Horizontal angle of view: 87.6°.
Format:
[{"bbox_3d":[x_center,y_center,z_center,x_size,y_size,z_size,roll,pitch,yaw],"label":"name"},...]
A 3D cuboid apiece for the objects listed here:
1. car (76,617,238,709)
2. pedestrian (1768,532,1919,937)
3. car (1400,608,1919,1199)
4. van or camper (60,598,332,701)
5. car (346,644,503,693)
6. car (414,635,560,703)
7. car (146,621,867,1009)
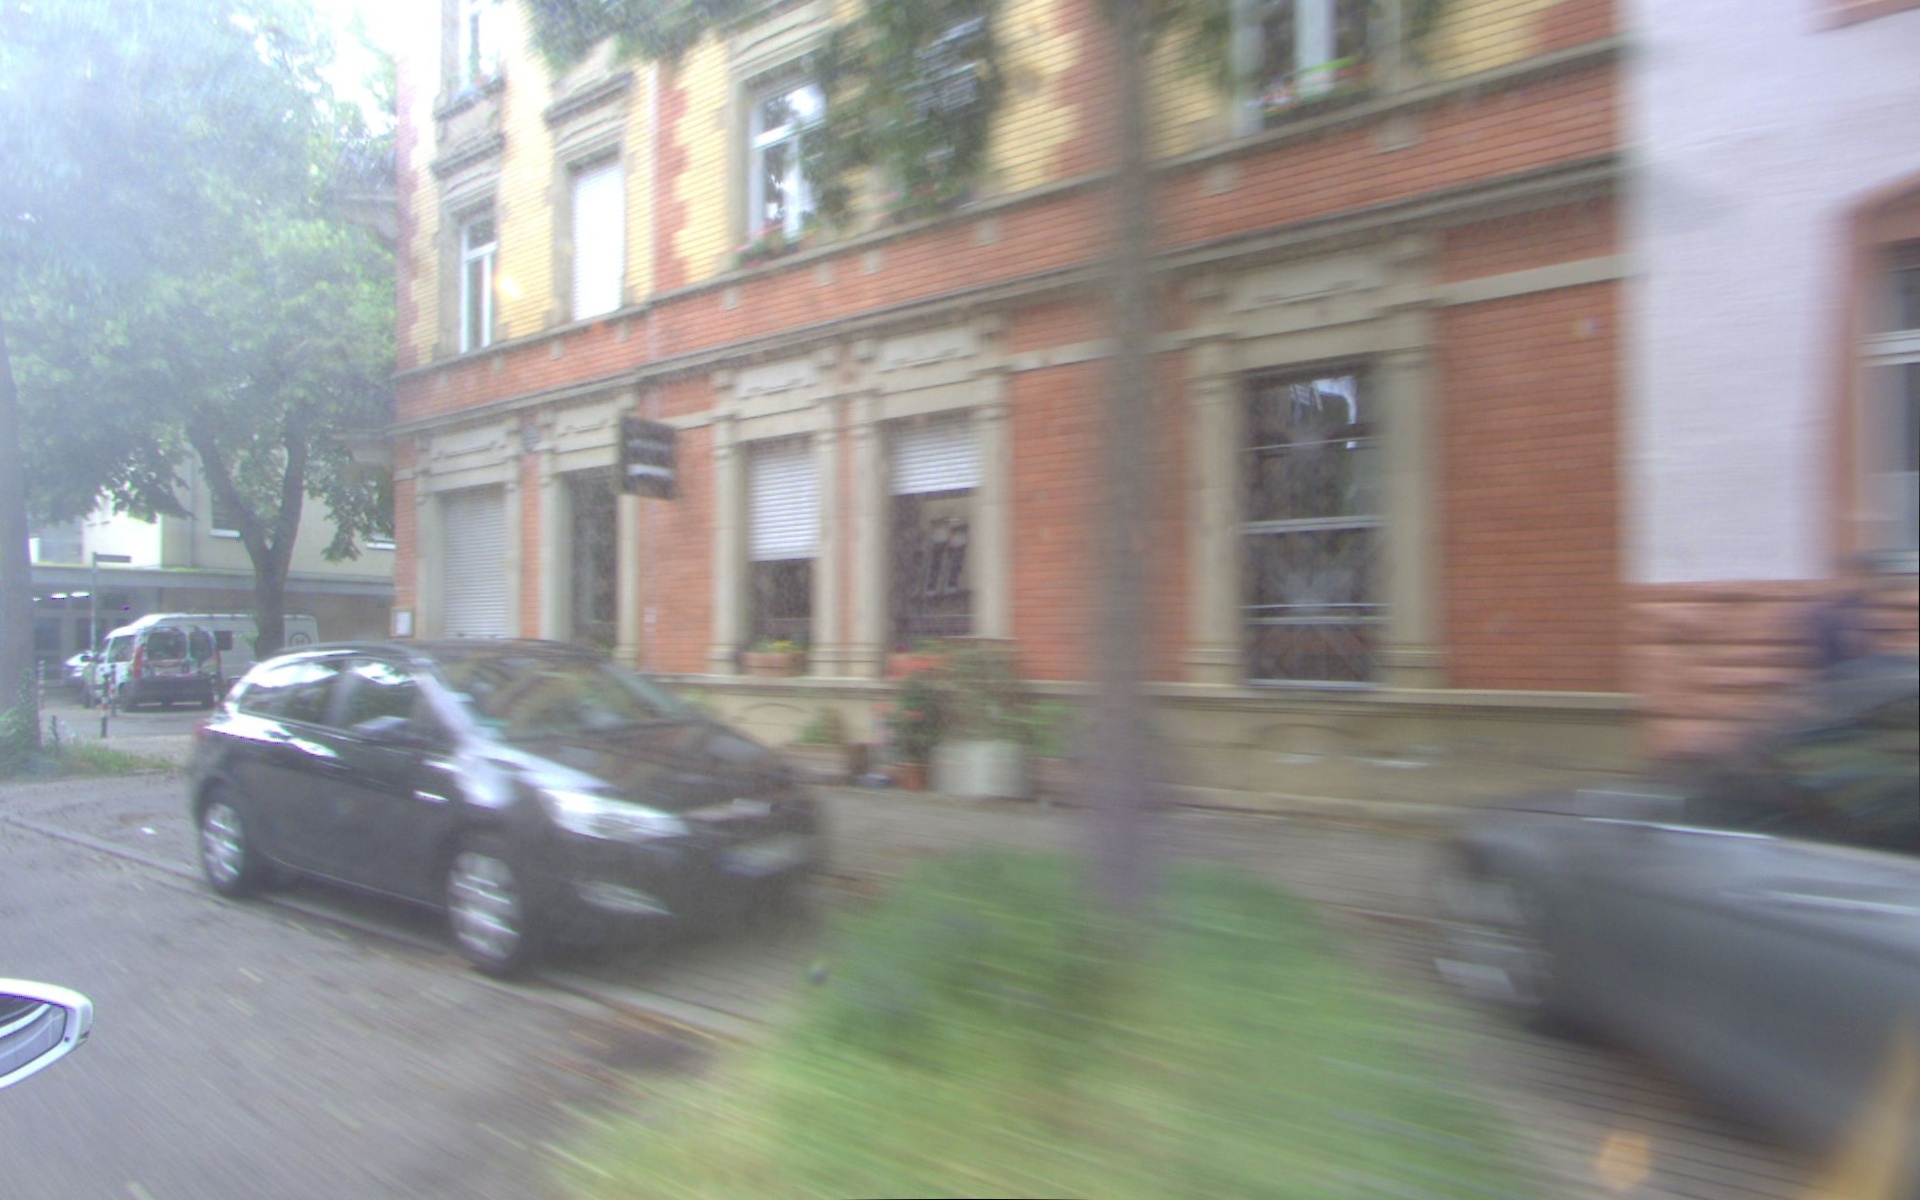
[{"bbox_3d":[-17.669,1.337,21.991,3.947,1.842,1.765,-1,-2,35],"label":"car"},{"bbox_3d":[4.240,0.592,4.655,0.654,1.755,0.596,-1,-1,31],"label":"pedestrian"},{"bbox_3d":[2.822,0.763,2.400,1.724,1.446,4.445,-1,0,2],"label":"car"},{"bbox_3d":[-21.254,1.337,28.119,2.111,2.527,5.744,3,0,41],"label":"van or camper"},{"bbox_3d":[-17.270,2.160,32.404,1.888,1.446,4.144,-2,-3,44],"label":"car"},{"bbox_3d":[-12.222,1.734,26.157,1.652,1.601,3.954,1,-2,5],"label":"car"},{"bbox_3d":[-2.837,0.910,5.901,4.416,1.505,1.760,-1,0,33],"label":"car"}]
